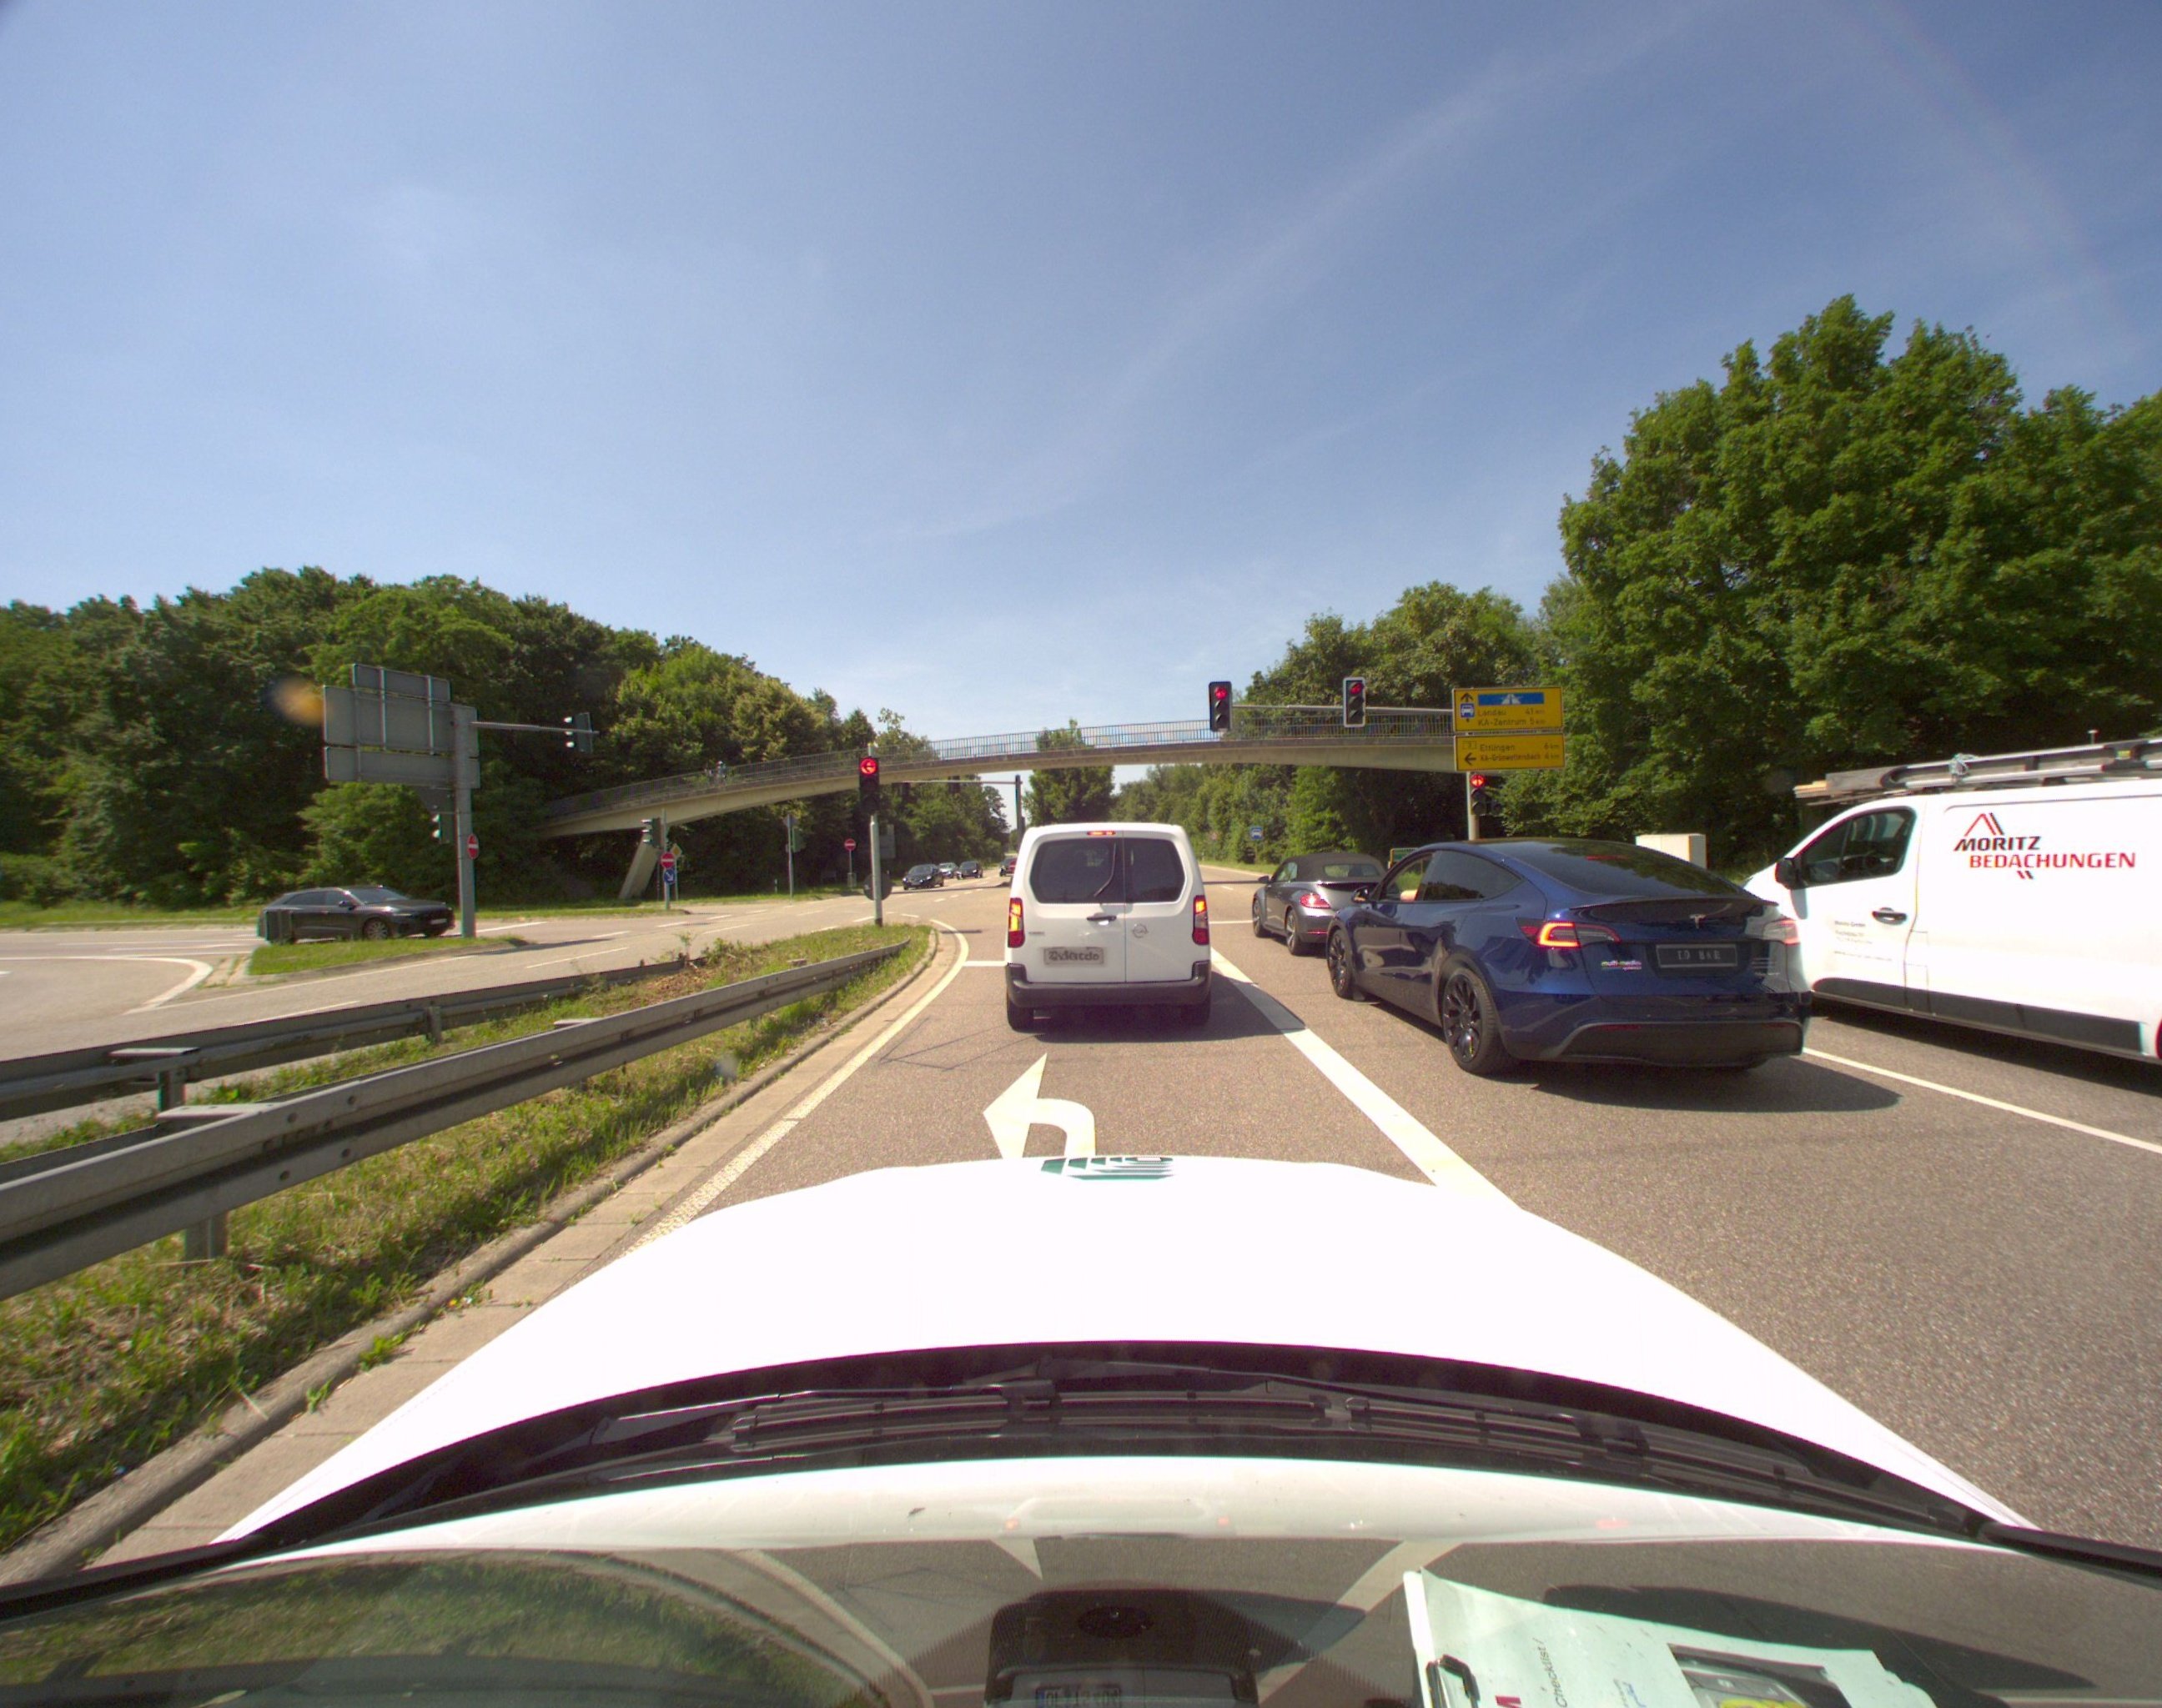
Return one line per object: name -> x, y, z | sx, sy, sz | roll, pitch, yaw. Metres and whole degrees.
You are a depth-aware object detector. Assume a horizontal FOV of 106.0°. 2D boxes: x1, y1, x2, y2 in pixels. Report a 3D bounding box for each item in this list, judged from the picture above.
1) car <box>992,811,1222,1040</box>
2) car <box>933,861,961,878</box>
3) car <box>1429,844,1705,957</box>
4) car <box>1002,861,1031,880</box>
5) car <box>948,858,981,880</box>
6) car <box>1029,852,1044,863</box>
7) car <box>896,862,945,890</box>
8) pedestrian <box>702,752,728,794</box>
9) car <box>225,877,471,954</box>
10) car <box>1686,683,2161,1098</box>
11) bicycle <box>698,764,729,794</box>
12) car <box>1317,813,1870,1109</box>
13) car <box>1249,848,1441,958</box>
car -> 0.246, 0.552, 8.563 | 1.843, 1.825, 3.982 | -1, 1, 1
car -> -12.285, 1.426, 74.724 | 1.746, 1.406, 4.002 | -3, 0, 2
car -> 7.378, 0.614, 12.989 | 1.893, 1.478, 4.382 | -1, 0, 2
car -> -5.503, 1.377, 69.941 | 1.986, 1.523, 4.029 | 1, 0, 2
car -> -9.944, 1.251, 69.812 | 1.986, 1.665, 4.002 | -3, 0, 2
car -> -7.268, 0.493, 133.752 | 1.986, 1.665, 4.002 | -3, 0, 2
car -> -9.678, 1.318, 49.377 | 2.001, 1.460, 4.057 | -3, 0, 2
pedestrian -> -20.053, -4.409, 44.600 | 0.776, 2.139, 0.936 | -4, -2, 17
car -> -21.358, 1.756, 23.948 | 5.059, 1.698, 2.047 | -3, 3, -4
car -> 7.109, 0.199, 5.789 | 1.925, 2.349, 5.076 | -1, 0, 1
bicycle -> -19.996, -4.077, 44.325 | 1.514, 1.474, 0.472 | -4, -2, 17
car -> 3.519, 0.596, 6.819 | 1.893, 1.644, 4.522 | -1, 0, 2
car -> 3.978, 0.662, 13.016 | 1.893, 1.478, 3.940 | -1, 0, 2
